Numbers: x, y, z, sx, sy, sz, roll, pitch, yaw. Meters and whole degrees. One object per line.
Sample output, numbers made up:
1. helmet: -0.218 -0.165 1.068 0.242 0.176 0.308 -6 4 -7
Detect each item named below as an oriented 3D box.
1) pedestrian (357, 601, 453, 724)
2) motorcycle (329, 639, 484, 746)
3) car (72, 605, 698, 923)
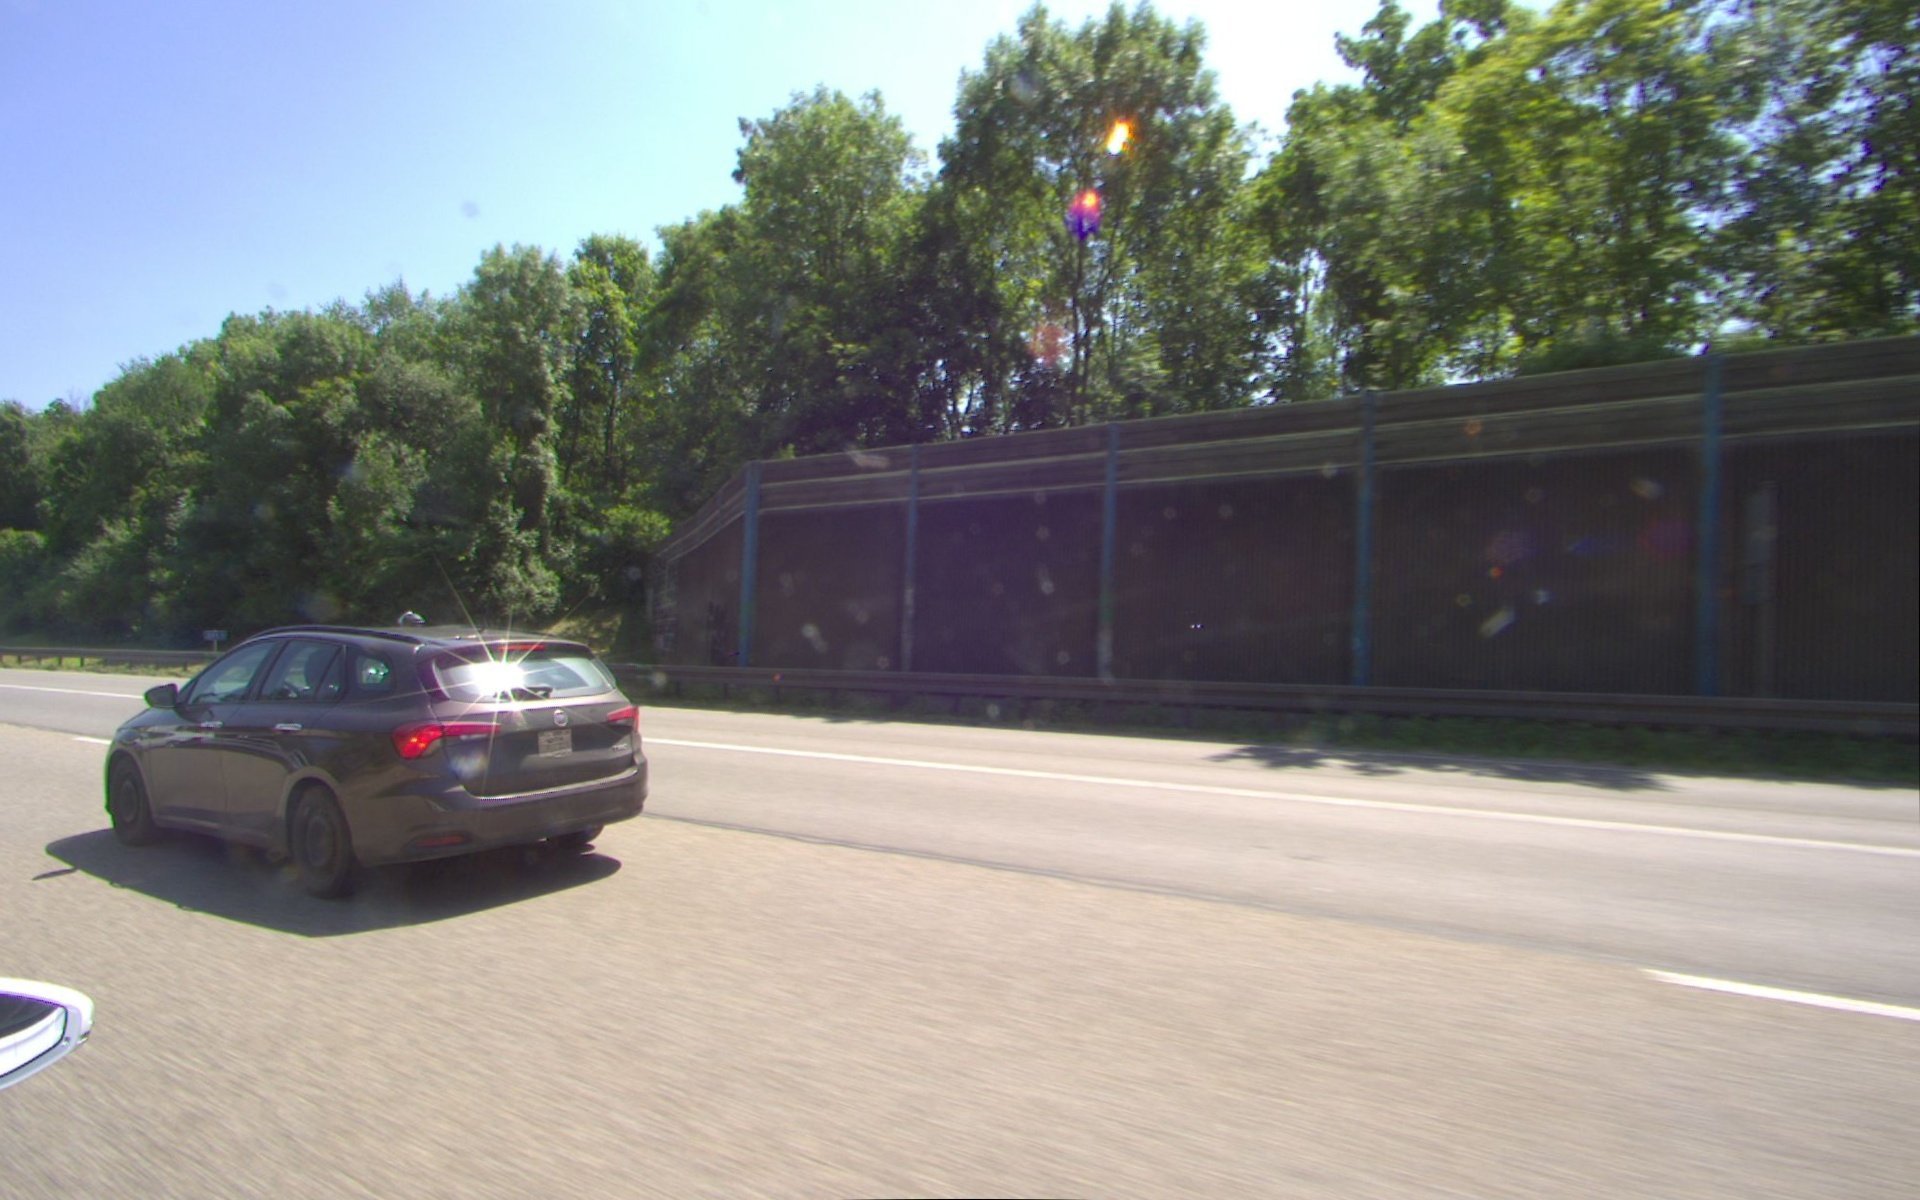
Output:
1. pedestrian: -7.035 0.776 12.706 0.630 1.498 0.849 1 -1 36
2. motorcycle: -7.051 1.123 12.711 2.246 1.197 0.857 0 -1 36
3. car: -4.018 0.834 6.810 4.337 1.532 1.836 0 -2 32
